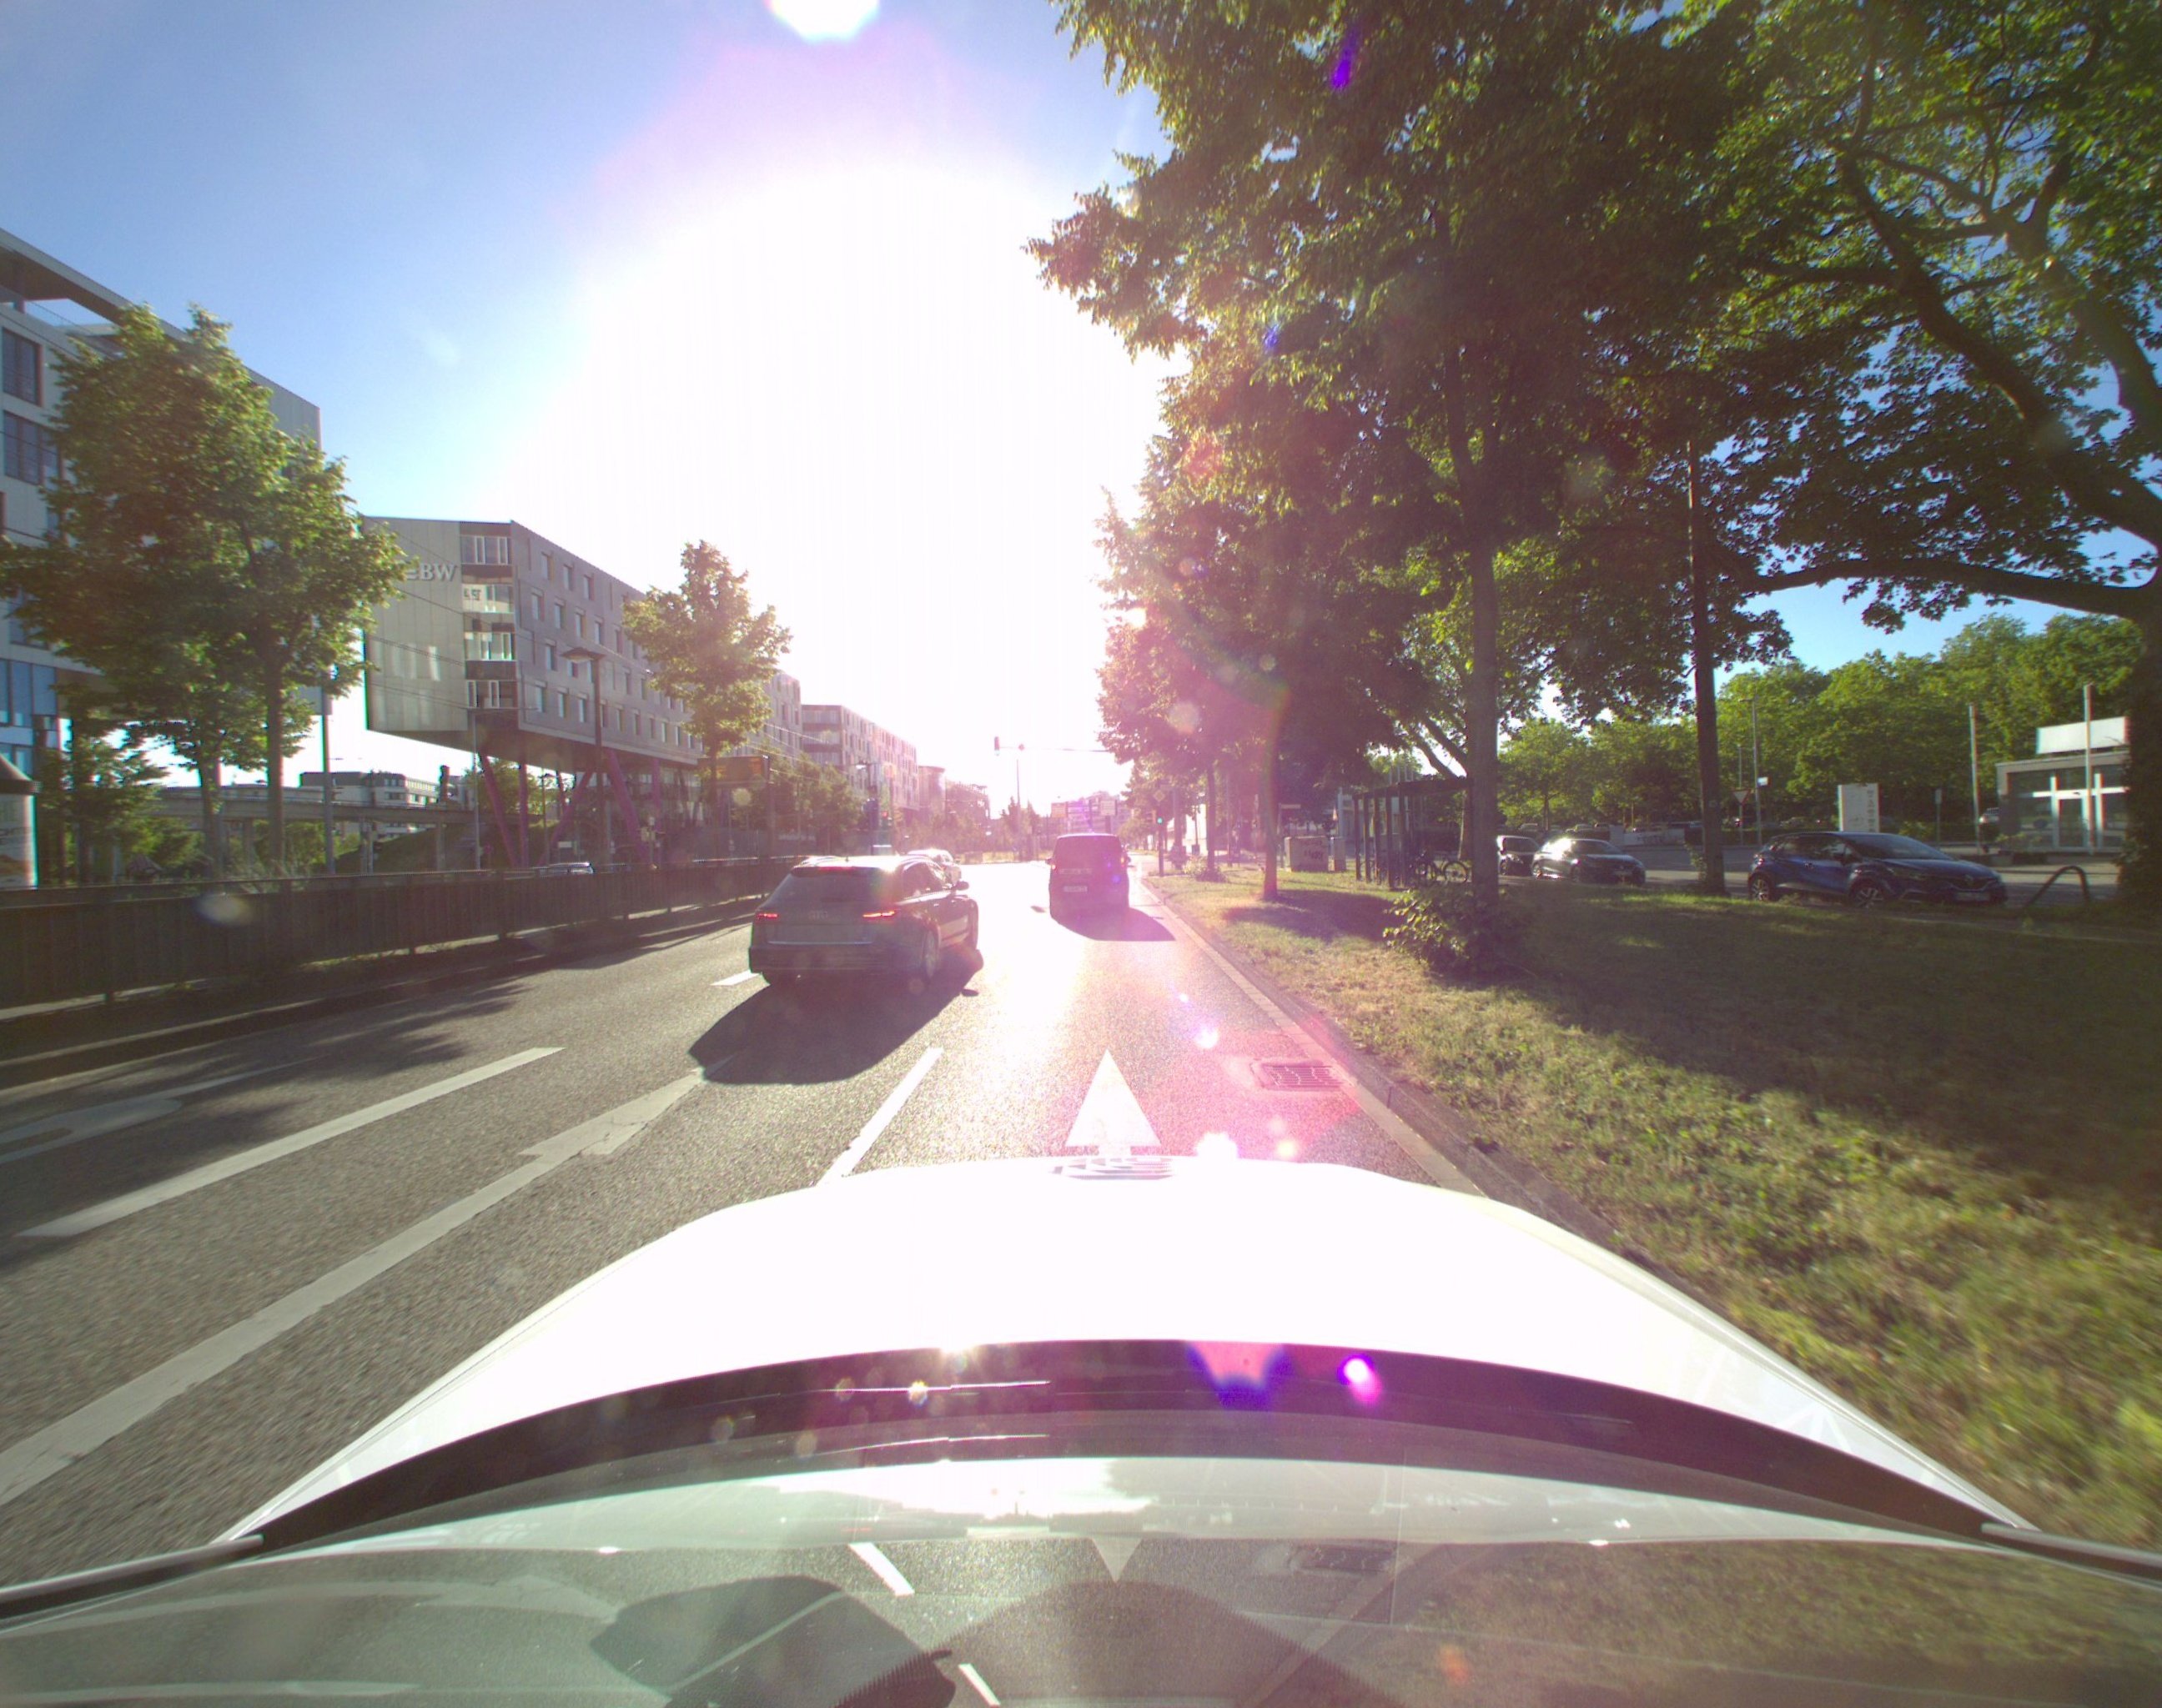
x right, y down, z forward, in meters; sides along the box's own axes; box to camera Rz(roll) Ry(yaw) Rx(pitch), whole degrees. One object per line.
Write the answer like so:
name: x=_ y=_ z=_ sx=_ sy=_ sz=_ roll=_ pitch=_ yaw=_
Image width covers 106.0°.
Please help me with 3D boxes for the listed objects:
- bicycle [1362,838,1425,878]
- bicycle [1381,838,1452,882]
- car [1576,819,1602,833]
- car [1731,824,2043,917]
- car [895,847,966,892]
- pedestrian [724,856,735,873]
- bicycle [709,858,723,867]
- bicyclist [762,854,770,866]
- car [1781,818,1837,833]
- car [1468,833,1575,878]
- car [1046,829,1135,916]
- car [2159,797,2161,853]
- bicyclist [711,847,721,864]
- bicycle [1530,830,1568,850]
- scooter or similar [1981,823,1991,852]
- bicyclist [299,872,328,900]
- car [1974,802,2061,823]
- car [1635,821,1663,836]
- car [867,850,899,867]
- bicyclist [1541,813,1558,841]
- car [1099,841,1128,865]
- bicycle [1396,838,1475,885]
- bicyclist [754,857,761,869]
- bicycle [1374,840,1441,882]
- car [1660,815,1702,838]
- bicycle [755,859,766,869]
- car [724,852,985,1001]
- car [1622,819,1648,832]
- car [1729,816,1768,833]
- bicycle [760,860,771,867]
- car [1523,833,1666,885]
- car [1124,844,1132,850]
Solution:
bicycle: x=9.467 y=0.112 z=24.690 sx=1.685 sy=1.169 sz=0.553 roll=-1 pitch=0 yaw=10
bicycle: x=9.185 y=0.158 z=22.330 sx=1.689 sy=1.169 sz=0.552 roll=-1 pitch=0 yaw=3
car: x=54.745 y=-3.003 z=87.815 sx=1.975 sy=1.465 sz=4.024 roll=-1 pitch=1 yaw=26
car: x=14.824 y=0.242 z=15.404 sx=1.884 sy=1.488 sz=4.354 roll=-1 pitch=1 yaw=6
car: x=-5.129 y=0.495 z=28.284 sx=1.665 sy=1.426 sz=4.006 roll=0 pitch=1 yaw=1
pedestrian: x=-39.966 y=1.166 z=92.600 sx=0.718 sy=1.822 sz=0.871 roll=-2 pitch=1 yaw=1
bicycle: x=-38.022 y=0.839 z=84.840 sx=0.525 sy=0.862 sz=1.835 roll=-2 pitch=1 yaw=2
bicyclist: x=-37.691 y=0.703 z=97.412 sx=0.568 sy=1.435 sz=0.959 roll=-2 pitch=1 yaw=2
car: x=74.919 y=-2.945 z=83.846 sx=3.969 sy=1.465 sz=2.003 roll=-1 pitch=1 yaw=4
car: x=15.674 y=0.014 z=29.217 sx=1.885 sy=1.465 sz=4.042 roll=-1 pitch=1 yaw=4
car: x=0.243 y=0.372 z=19.198 sx=1.842 sy=1.814 sz=4.115 roll=0 pitch=1 yaw=1
car: x=22.575 y=-0.152 z=13.849 sx=1.886 sy=2.036 sz=5.076 roll=-3 pitch=1 yaw=4
bicyclist: x=-38.044 y=0.123 z=84.945 sx=0.527 sy=1.726 sz=0.838 roll=-2 pitch=1 yaw=2
bicycle: x=30.057 y=-0.872 z=52.287 sx=2.077 sy=1.203 sz=0.555 roll=-2 pitch=1 yaw=31
scooter or similar: x=37.876 y=-0.689 z=34.095 sx=1.018 sy=1.163 sz=0.259 roll=-2 pitch=1 yaw=-42
bicyclist: x=-45.825 y=1.916 z=48.608 sx=0.949 sy=1.583 sz=0.751 roll=-2 pitch=1 yaw=3
car: x=73.163 y=-3.237 z=63.670 sx=3.956 sy=1.465 sz=2.010 roll=3 pitch=3 yaw=17
car: x=55.778 y=-2.511 z=80.034 sx=1.974 sy=1.465 sz=4.025 roll=0 pitch=2 yaw=30
car: x=-20.279 y=0.427 z=83.658 sx=1.987 sy=1.562 sz=4.871 roll=-2 pitch=1 yaw=0
bicyclist: x=30.047 y=-1.742 z=52.226 sx=0.866 sy=1.737 sz=0.838 roll=-2 pitch=1 yaw=31
car: x=2.151 y=-0.083 z=54.410 sx=1.846 sy=1.546 sz=4.001 roll=-1 pitch=1 yaw=1
bicycle: x=9.250 y=0.194 z=21.278 sx=1.795 sy=1.169 sz=0.552 roll=-1 pitch=0 yaw=4
bicyclist: x=-40.817 y=1.114 z=102.809 sx=0.556 sy=1.495 sz=0.763 roll=-2 pitch=0 yaw=1
bicycle: x=9.433 y=0.192 z=23.537 sx=1.688 sy=1.169 sz=0.552 roll=-1 pitch=0 yaw=4
car: x=41.831 y=-1.908 z=56.860 sx=1.974 sy=1.465 sz=4.025 roll=0 pitch=2 yaw=30
bicycle: x=-40.479 y=1.264 z=102.803 sx=0.518 sy=1.172 sz=1.976 roll=-2 pitch=1 yaw=1
car: x=-2.531 y=0.718 z=10.436 sx=1.805 sy=1.427 sz=4.693 roll=0 pitch=1 yaw=3
car: x=64.397 y=-3.276 z=94.756 sx=1.975 sy=1.465 sz=4.024 roll=-1 pitch=1 yaw=26
car: x=62.257 y=-2.753 z=76.029 sx=1.975 sy=1.465 sz=4.024 roll=-1 pitch=1 yaw=26
bicycle: x=-37.681 y=1.129 z=97.371 sx=0.573 sy=0.862 sz=1.693 roll=-2 pitch=1 yaw=2
car: x=15.403 y=0.103 z=24.743 sx=1.885 sy=1.411 sz=4.353 roll=-1 pitch=1 yaw=5
car: x=13.006 y=-1.961 z=223.393 sx=1.846 sy=1.481 sz=4.854 roll=-4 pitch=1 yaw=0
